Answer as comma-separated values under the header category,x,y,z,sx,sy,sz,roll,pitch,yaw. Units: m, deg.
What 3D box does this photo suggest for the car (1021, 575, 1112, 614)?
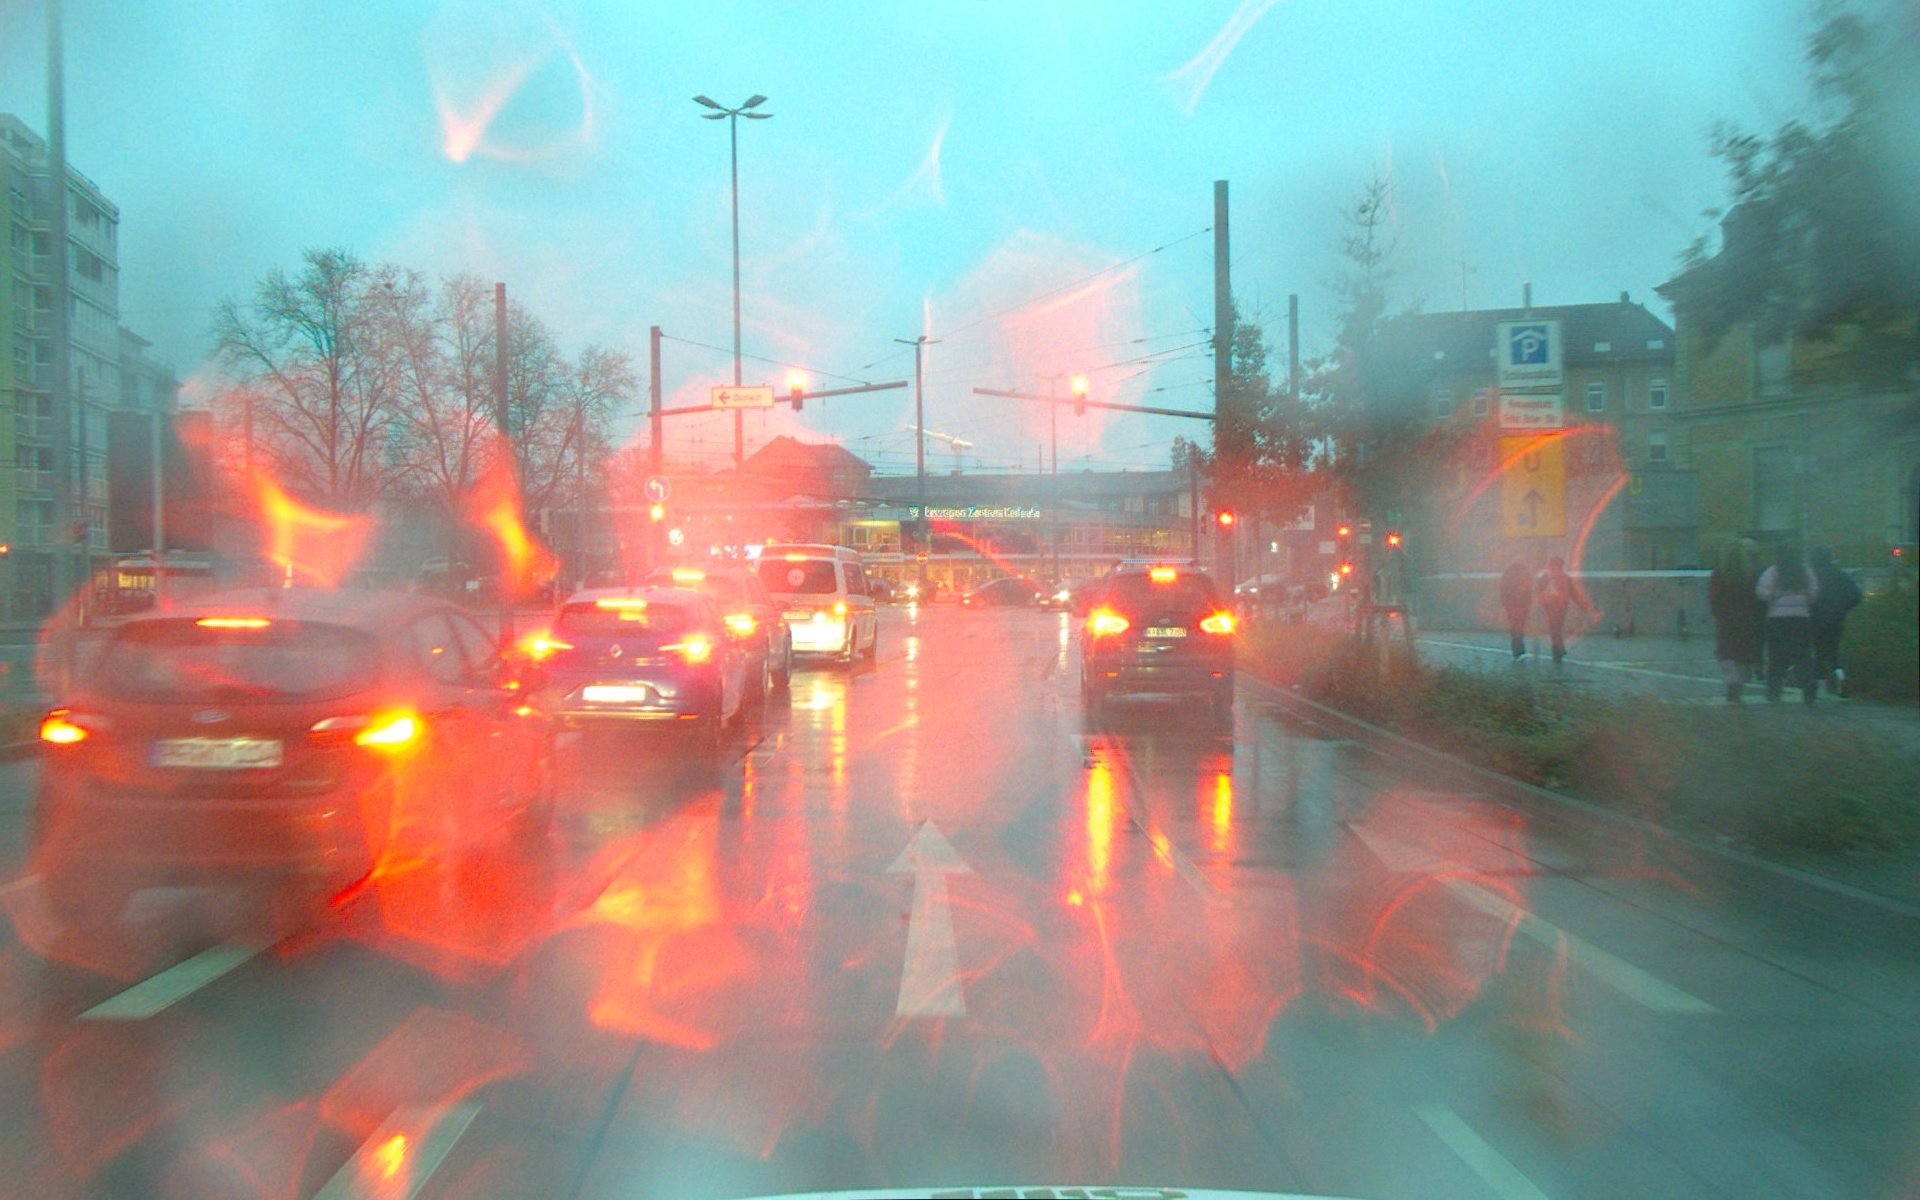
category,x,y,z,sx,sy,sz,roll,pitch,yaw
car,4.596,-0.238,70.889,1.962,1.541,3.980,-1,1,39

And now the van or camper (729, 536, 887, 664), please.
category,x,y,z,sx,sy,sz,roll,pitch,yaw
van or camper,-2.709,-0.024,30.695,2.155,2.146,4.990,1,0,3

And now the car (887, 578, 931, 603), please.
category,x,y,z,sx,sy,sz,roll,pitch,yaw
car,-3.119,-0.607,101.880,1.774,1.472,4.004,-1,0,11

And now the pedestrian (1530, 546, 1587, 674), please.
category,x,y,z,sx,sy,sz,roll,pitch,yaw
pedestrian,9.885,0.145,27.312,0.792,2.048,0.759,1,3,27

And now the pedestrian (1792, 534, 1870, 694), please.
category,x,y,z,sx,sy,sz,roll,pitch,yaw
pedestrian,9.583,0.151,18.219,0.704,1.717,0.759,-1,0,26

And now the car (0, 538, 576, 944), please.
category,x,y,z,sx,sy,sz,roll,pitch,yaw
car,-3.045,0.523,8.224,1.668,1.507,3.867,2,0,-6

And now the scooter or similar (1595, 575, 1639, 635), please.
category,x,y,z,sx,sy,sz,roll,pitch,yaw
scooter or similar,13.864,0.091,34.878,0.504,1.235,1.377,-1,0,37

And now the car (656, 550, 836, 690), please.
category,x,y,z,sx,sy,sz,roll,pitch,yaw
car,-2.752,0.224,22.192,1.748,1.628,4.541,2,0,0

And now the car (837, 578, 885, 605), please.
category,x,y,z,sx,sy,sz,roll,pitch,yaw
car,-5.678,-0.505,95.303,1.774,1.472,4.004,-1,0,11

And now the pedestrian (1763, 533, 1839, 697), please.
category,x,y,z,sx,sy,sz,roll,pitch,yaw
pedestrian,9.080,0.156,17.868,0.654,1.717,0.611,-2,1,27

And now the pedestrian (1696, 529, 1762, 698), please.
category,x,y,z,sx,sy,sz,roll,pitch,yaw
pedestrian,8.477,0.146,18.226,0.572,1.812,0.768,-2,-1,27

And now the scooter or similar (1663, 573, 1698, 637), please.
category,x,y,z,sx,sy,sz,roll,pitch,yaw
scooter or similar,14.325,0.088,32.854,0.503,1.235,1.381,-1,0,29

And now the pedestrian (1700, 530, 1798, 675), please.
category,x,y,z,sx,sy,sz,roll,pitch,yaw
pedestrian,10.122,0.024,21.225,0.837,1.822,0.746,-1,0,-16

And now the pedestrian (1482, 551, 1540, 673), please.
category,x,y,z,sx,sy,sz,roll,pitch,yaw
pedestrian,9.125,0.175,27.401,0.792,1.963,0.759,1,3,27

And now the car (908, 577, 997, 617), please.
category,x,y,z,sx,sy,sz,roll,pitch,yaw
car,-0.357,-0.141,79.001,3.918,1.803,1.994,-1,0,-13

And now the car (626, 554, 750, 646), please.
category,x,y,z,sx,sy,sz,roll,pitch,yaw
car,-5.555,-0.020,34.218,1.846,1.803,4.001,0,0,1

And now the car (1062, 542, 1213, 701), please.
category,x,y,z,sx,sy,sz,roll,pitch,yaw
car,2.218,0.207,21.404,1.740,1.831,4.427,0,1,4

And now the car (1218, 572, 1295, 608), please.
category,x,y,z,sx,sy,sz,roll,pitch,yaw
car,14.424,-0.495,80.364,1.962,1.630,3.980,-1,0,39

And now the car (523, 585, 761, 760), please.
category,x,y,z,sx,sy,sz,roll,pitch,yaw
car,-2.897,0.591,15.844,1.626,1.428,4.118,1,0,-3
